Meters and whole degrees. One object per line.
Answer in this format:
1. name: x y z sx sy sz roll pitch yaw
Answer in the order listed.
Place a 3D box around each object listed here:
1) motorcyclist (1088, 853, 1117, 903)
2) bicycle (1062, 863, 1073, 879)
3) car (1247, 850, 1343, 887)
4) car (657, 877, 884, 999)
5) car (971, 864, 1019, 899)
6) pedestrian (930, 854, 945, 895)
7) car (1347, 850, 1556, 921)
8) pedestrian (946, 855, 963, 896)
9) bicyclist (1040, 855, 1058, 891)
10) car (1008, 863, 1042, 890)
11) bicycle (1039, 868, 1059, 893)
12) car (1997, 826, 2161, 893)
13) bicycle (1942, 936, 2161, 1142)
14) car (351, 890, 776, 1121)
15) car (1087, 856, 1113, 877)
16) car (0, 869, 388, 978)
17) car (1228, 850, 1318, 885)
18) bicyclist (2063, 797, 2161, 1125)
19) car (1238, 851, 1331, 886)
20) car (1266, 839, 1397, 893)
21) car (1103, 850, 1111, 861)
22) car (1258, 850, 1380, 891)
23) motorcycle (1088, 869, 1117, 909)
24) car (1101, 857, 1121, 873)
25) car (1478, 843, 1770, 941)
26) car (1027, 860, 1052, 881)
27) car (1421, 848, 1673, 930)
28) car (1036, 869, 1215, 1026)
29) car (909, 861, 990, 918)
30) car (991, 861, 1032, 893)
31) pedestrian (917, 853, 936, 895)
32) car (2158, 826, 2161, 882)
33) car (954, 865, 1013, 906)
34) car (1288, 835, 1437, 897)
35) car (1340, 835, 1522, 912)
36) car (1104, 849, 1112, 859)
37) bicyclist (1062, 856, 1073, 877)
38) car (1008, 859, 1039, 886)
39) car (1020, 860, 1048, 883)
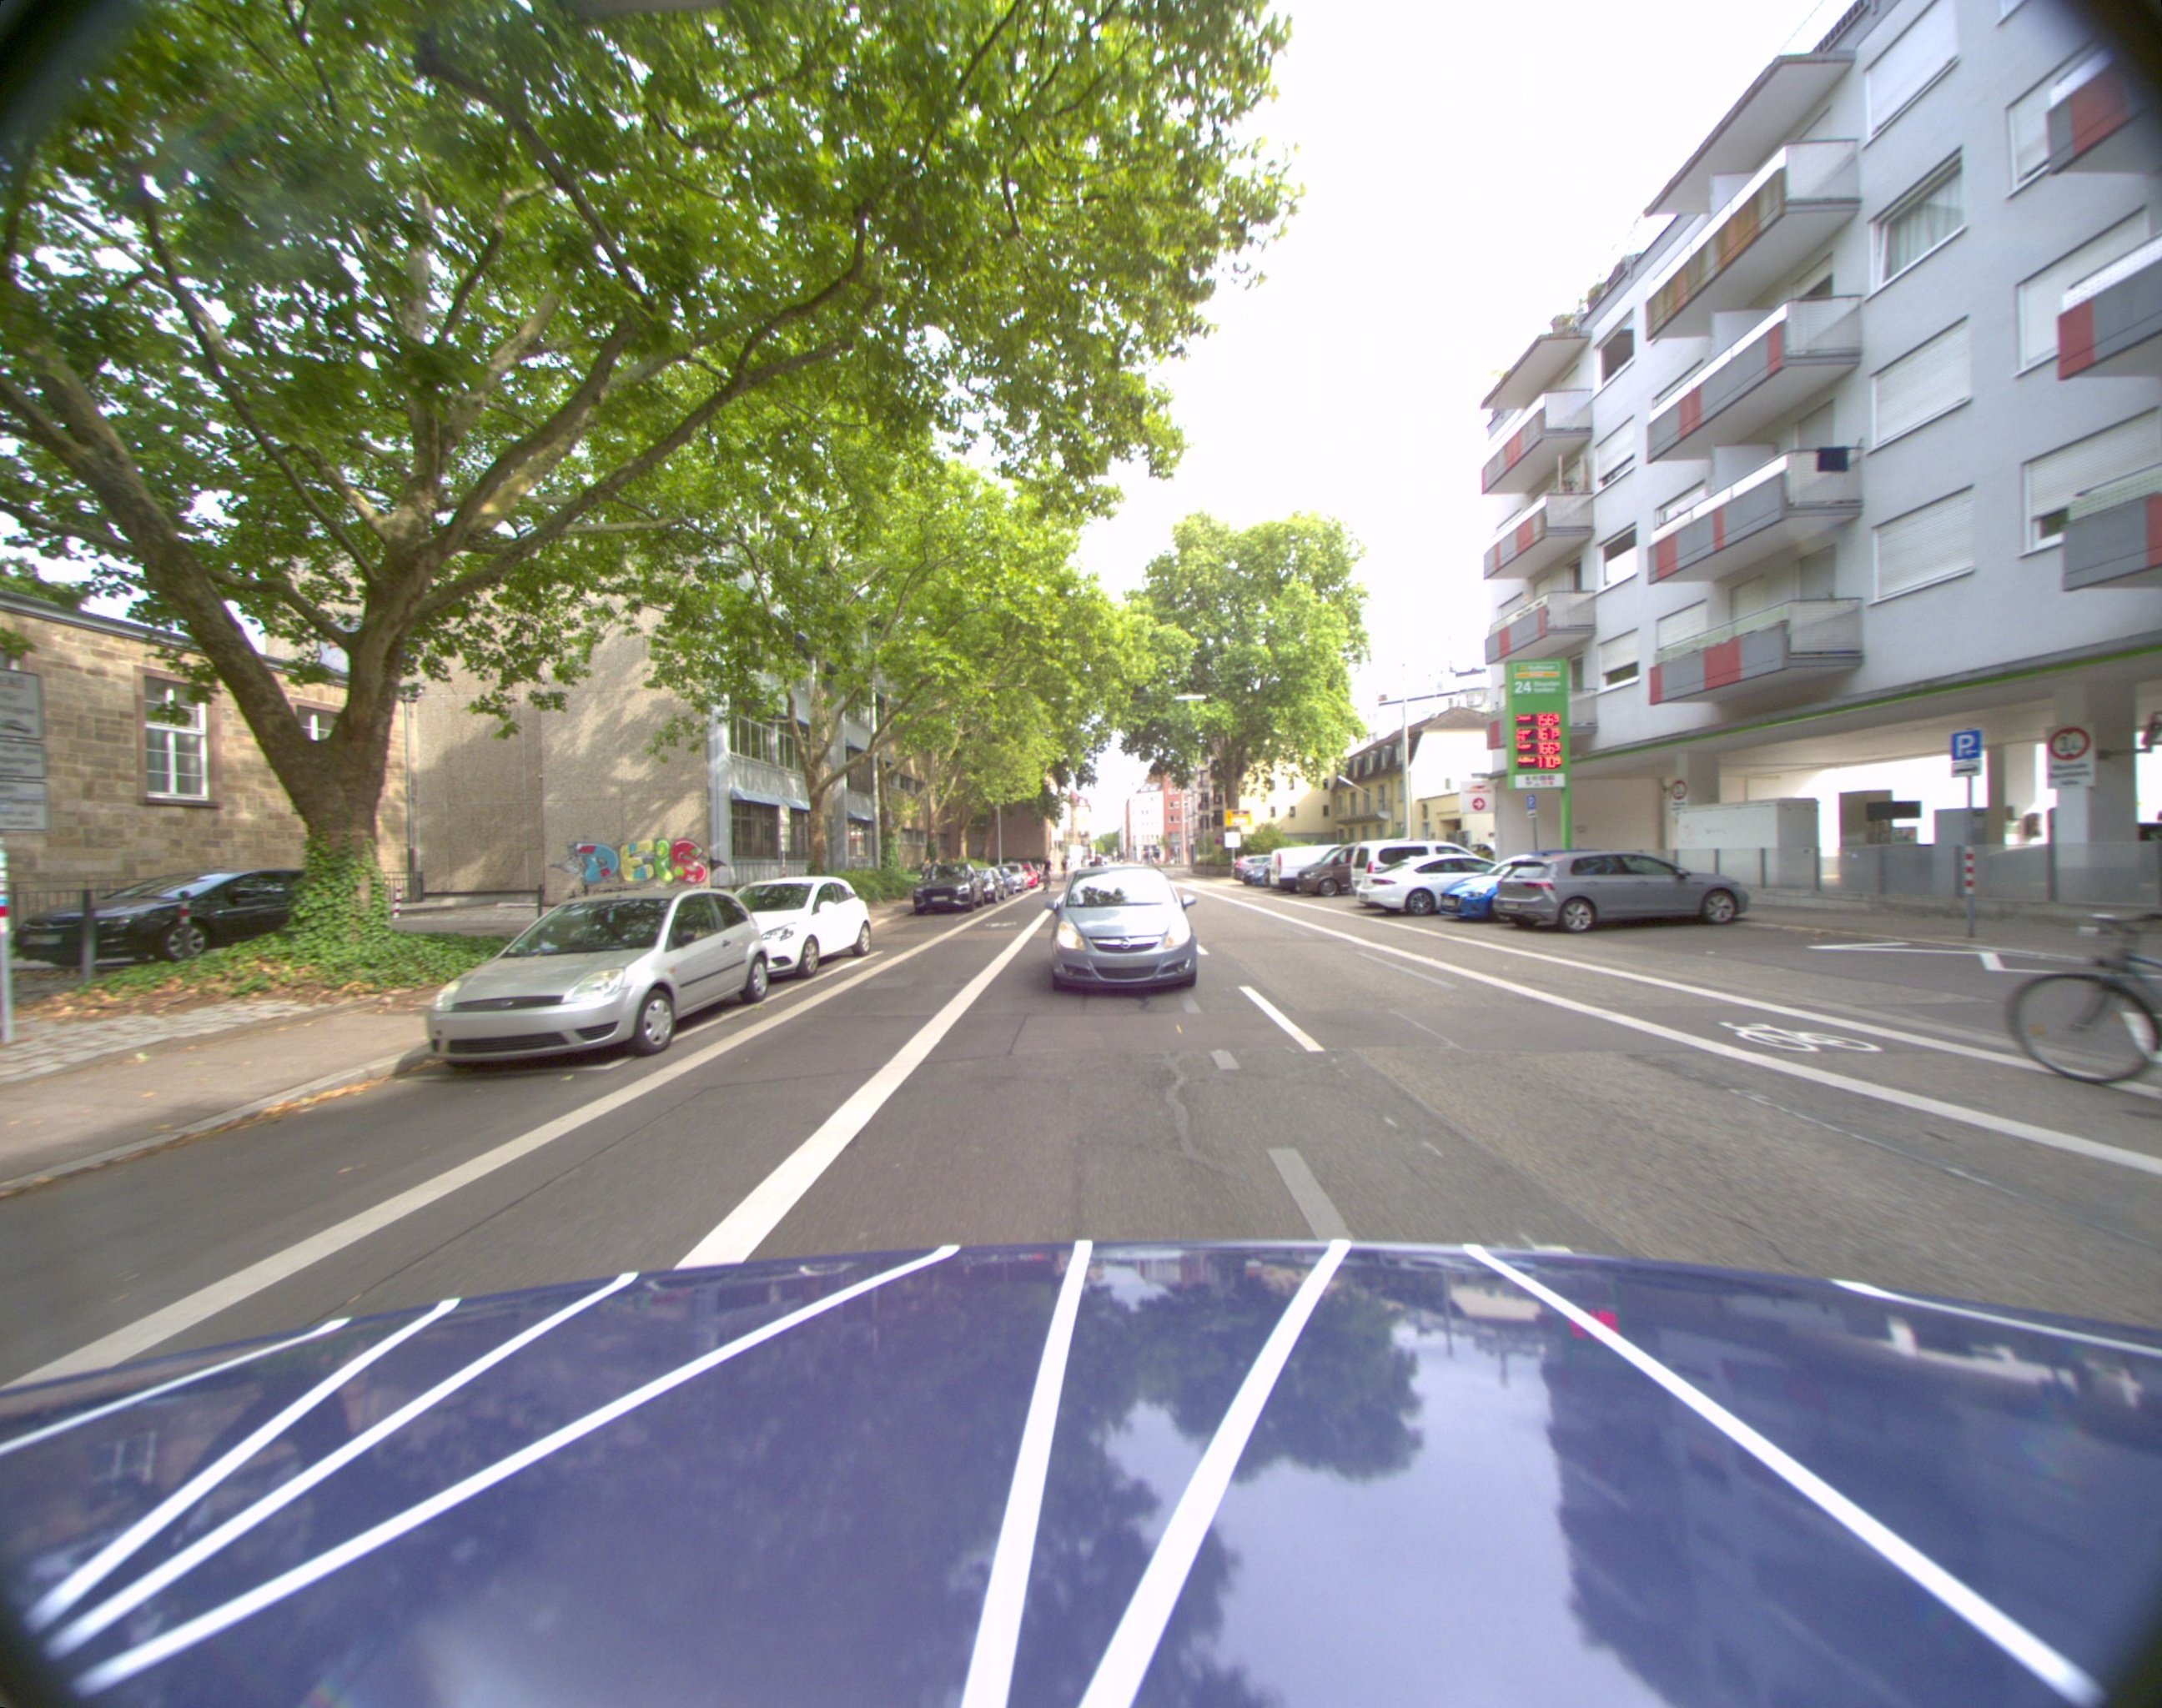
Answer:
1. motorcyclist: 0.703 0.797 25.163 0.904 1.608 0.691 -1 1 1
2. bicycle: -1.074 1.344 60.175 0.763 1.162 1.950 -2 0 2
3. car: 10.666 0.721 38.051 4.275 1.502 1.719 -4 0 2
4. car: -4.729 1.197 12.338 1.758 1.438 4.219 -3 0 2
5. car: -3.967 1.239 35.668 1.602 1.414 3.956 -3 0 2
6. pedestrian: -6.339 0.912 33.559 0.502 1.775 0.527 2 1 0
7. car: 9.214 0.755 19.172 4.281 1.442 1.874 -4 0 2
8. pedestrian: -5.627 0.934 33.748 0.592 1.775 0.476 2 1 0
9. bicyclist: -1.575 0.936 37.300 0.764 1.698 0.917 -2 0 2
10. car: -3.370 1.321 46.485 1.602 1.438 4.105 -3 0 2
11. bicycle: -1.561 1.278 37.227 0.763 1.162 1.950 -2 0 2
12. car: 21.758 0.083 15.270 1.912 1.290 4.000 -1 0 1
13. bicycle: 6.255 1.073 4.205 0.647 1.008 2.077 0 0 1
14. car: -4.584 1.203 7.549 1.647 1.438 3.881 -3 0 -3
15. car: 1.520 0.961 61.006 2.000 1.556 4.551 -2 0 1
16. car: -14.205 1.030 12.505 1.673 1.441 4.299 -2 -2 0
17. car: 10.653 0.729 42.410 4.529 1.596 1.754 -4 0 2
18. bicyclist: 6.251 0.584 4.052 0.653 1.800 1.045 0 1 1
19. car: 10.678 0.740 40.094 4.372 1.540 1.733 -4 0 2
20. car: 10.131 0.488 31.042 4.627 1.848 1.950 -4 0 2
21. car: 6.531 0.408 190.307 1.998 2.546 4.799 -2 0 2
22. car: 10.408 0.719 33.476 4.716 1.461 1.874 -4 0 2
23. motorcycle: 0.705 1.114 25.163 0.904 1.190 2.630 -1 0 1
24. car: 3.206 1.167 80.821 1.934 1.637 4.001 -1 0 3
25. car: 10.210 0.692 14.544 4.161 1.504 1.837 -4 0 2
26. car: -3.309 1.277 61.327 1.602 1.516 3.956 -3 0 2
27. car: 10.108 0.725 16.766 4.311 1.442 1.910 -4 0 2
28. car: 0.491 0.956 9.569 1.716 1.412 4.253 -2 0 1
29. car: -4.361 1.126 25.904 1.926 1.612 4.481 -3 0 0
30. car: -3.673 1.192 41.027 1.602 1.496 4.441 -3 0 2
31. pedestrian: -6.880 0.879 33.851 0.643 1.823 0.645 2 1 0
32. car: 30.024 -0.033 18.350 1.844 1.512 4.367 -2 0 1
33. car: -3.921 1.242 31.179 1.643 1.424 4.574 -3 0 2
34. car: 10.466 0.451 28.567 4.778 1.923 1.994 -4 0 2
35. car: 9.907 0.537 21.758 4.221 1.837 1.924 -4 0 2
36. car: 6.952 -0.025 199.000 1.998 2.620 4.799 -2 0 2
37. bicyclist: -1.076 1.001 60.179 0.748 1.590 0.819 -2 0 2
38. car: -3.892 1.222 52.077 1.651 1.655 3.797 -3 0 2
39. car: -3.475 1.254 56.616 1.602 1.516 3.956 -3 0 2
